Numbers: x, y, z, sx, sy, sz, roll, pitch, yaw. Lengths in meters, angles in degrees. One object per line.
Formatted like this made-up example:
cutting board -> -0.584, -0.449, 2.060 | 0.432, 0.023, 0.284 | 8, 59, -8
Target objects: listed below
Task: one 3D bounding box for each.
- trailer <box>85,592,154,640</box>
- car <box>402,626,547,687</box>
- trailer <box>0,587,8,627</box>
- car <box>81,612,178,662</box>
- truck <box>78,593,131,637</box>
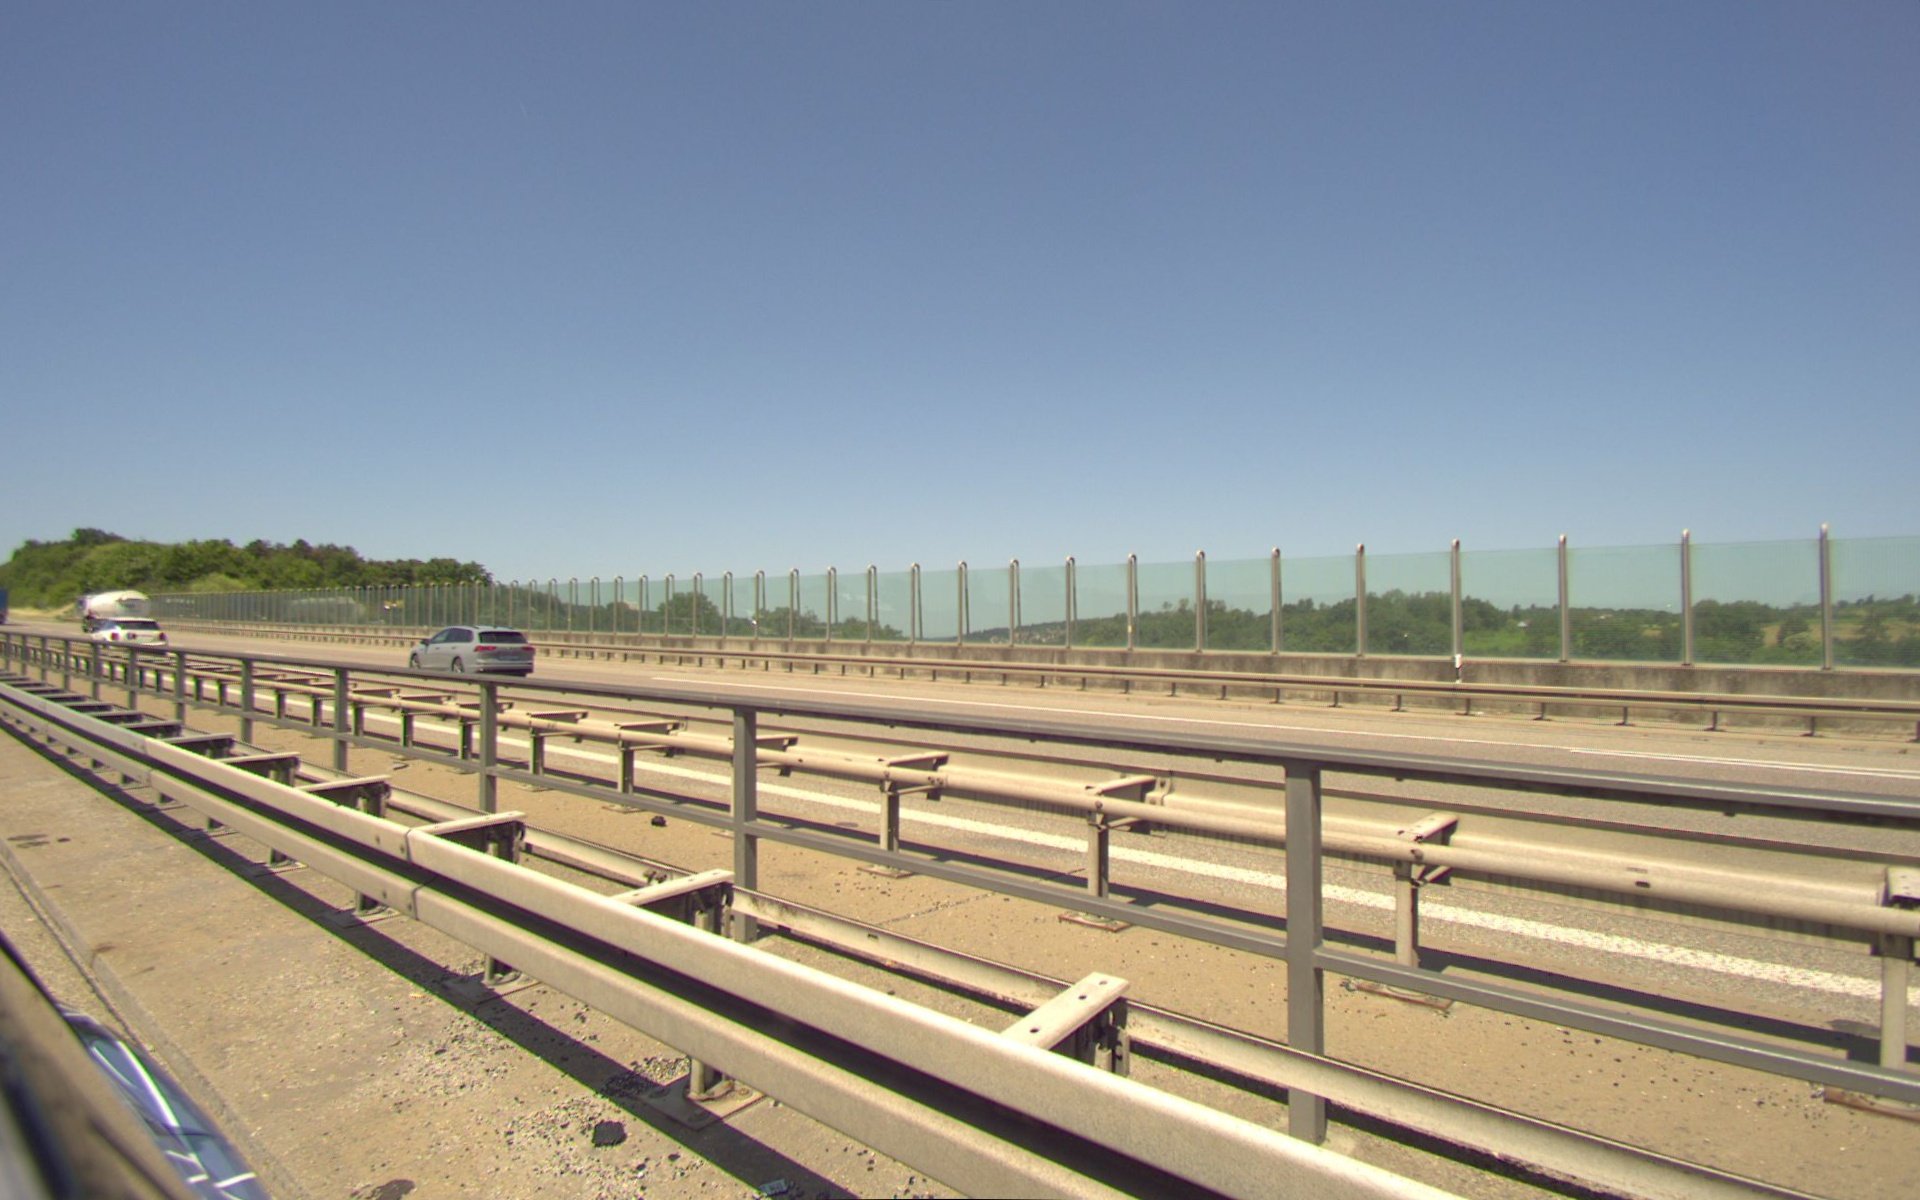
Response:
trailer -> -66.464, 1.258, 79.917 | 10.899, 3.567, 2.472 | 0, -2, 42
car -> -13.008, 1.467, 26.995 | 4.382, 1.453, 1.852 | 0, -3, 41
trailer -> -106.727, 0.729, 110.511 | 12.042, 4.197, 2.676 | 0, -2, 41
car -> -28.598, 1.257, 34.814 | 3.606, 1.541, 1.852 | -1, -6, 41
truck -> -70.758, 1.241, 83.679 | 5.328, 3.562, 2.494 | 0, -2, 42
